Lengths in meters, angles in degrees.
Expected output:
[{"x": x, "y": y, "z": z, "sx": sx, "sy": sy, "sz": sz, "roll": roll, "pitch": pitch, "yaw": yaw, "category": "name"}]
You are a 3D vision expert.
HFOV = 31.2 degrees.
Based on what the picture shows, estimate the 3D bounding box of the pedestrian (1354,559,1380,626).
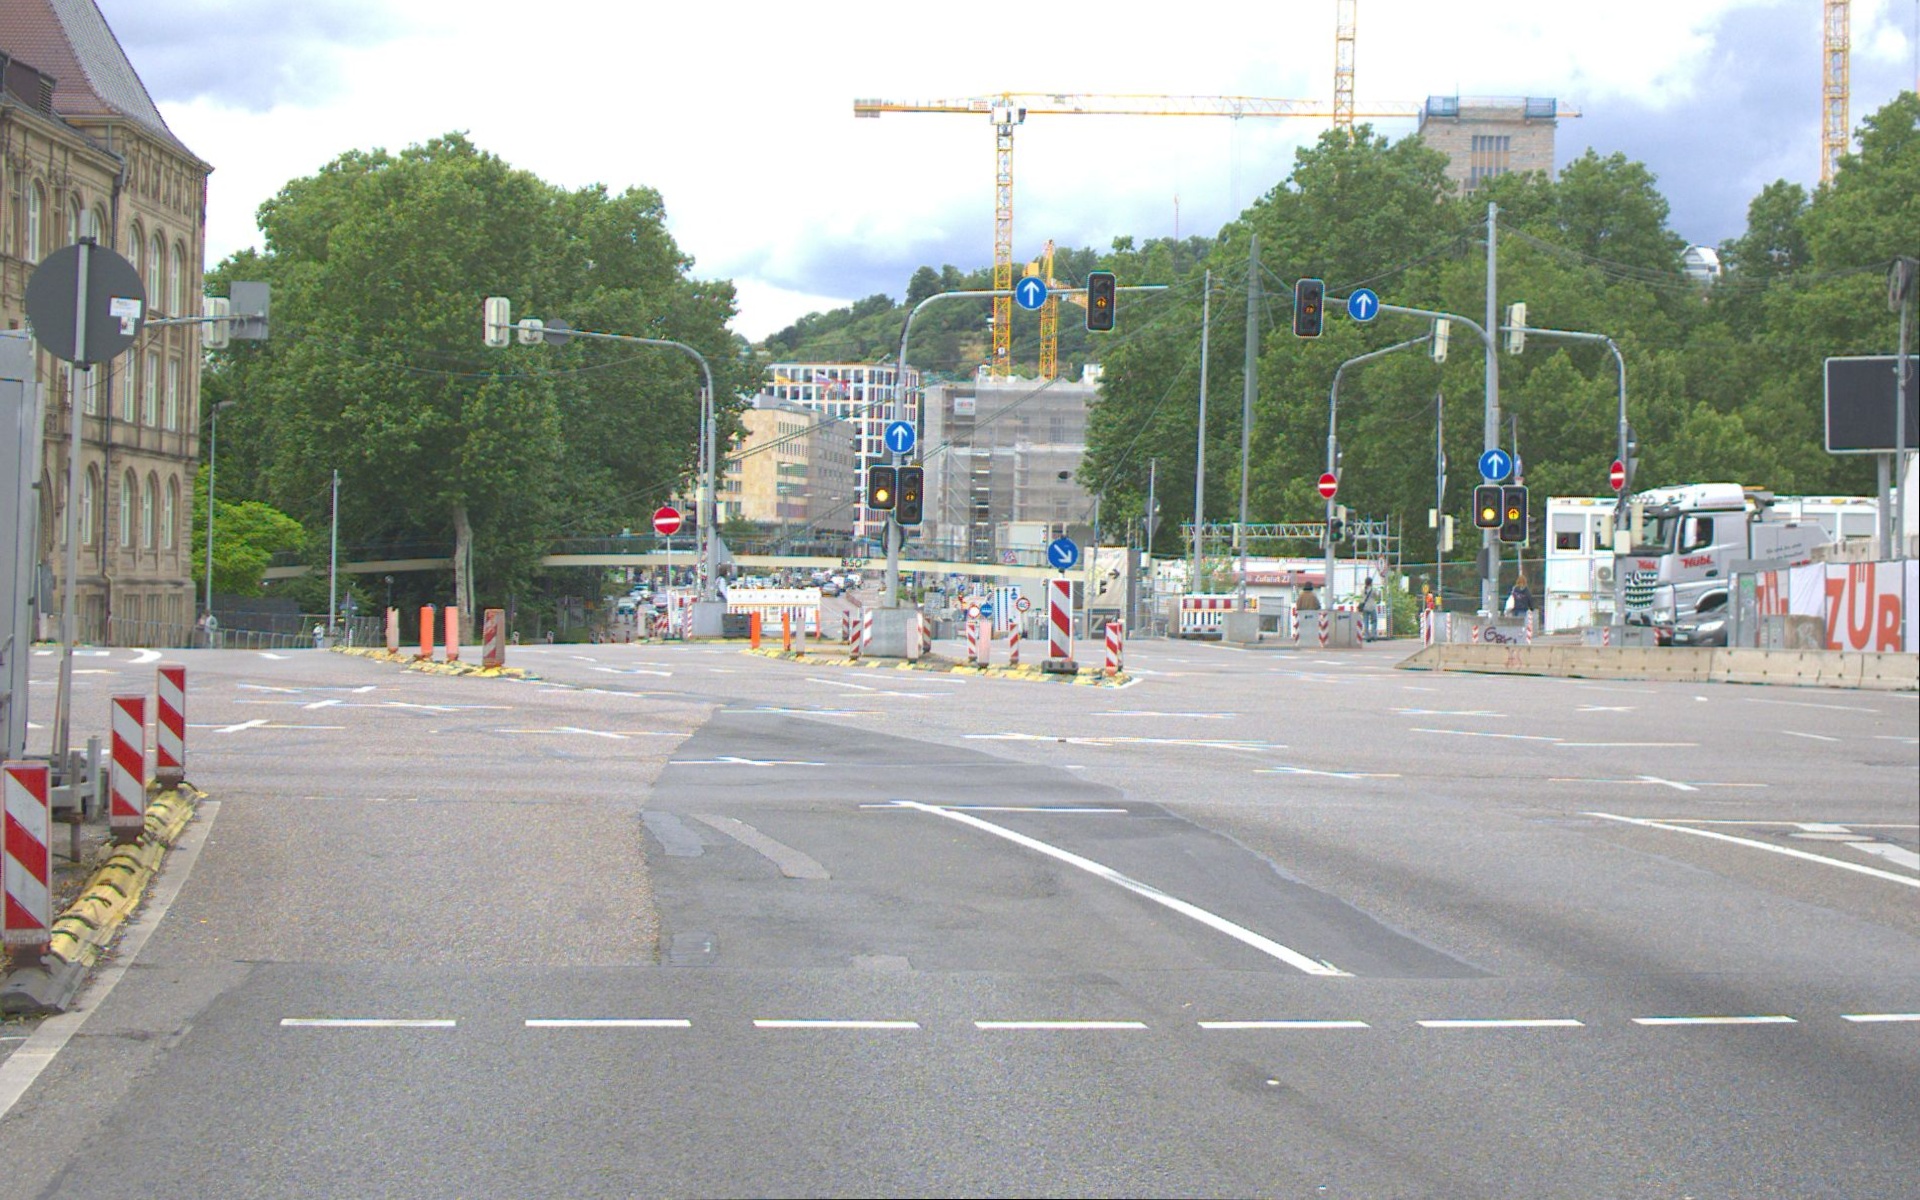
[{"x": 10.265, "y": -0.188, "z": 86.743, "sx": 0.566, "sy": 1.683, "sz": 0.472, "roll": 1, "pitch": 1, "yaw": -1, "category": "pedestrian"}]

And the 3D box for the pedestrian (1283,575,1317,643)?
[{"x": 8.531, "y": 0.222, "z": 86.240, "sx": 0.729, "sy": 1.683, "sz": 0.678, "roll": 1, "pitch": 1, "yaw": -1, "category": "pedestrian"}]

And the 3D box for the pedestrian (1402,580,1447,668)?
[{"x": 9.123, "y": 0.465, "z": 67.561, "sx": 0.729, "sy": 1.683, "sz": 0.678, "roll": 1, "pitch": 1, "yaw": -1, "category": "pedestrian"}]

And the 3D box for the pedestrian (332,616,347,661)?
[{"x": -27.927, "y": 1.732, "z": 154.728, "sx": 0.524, "sy": 2.007, "sz": 0.567, "roll": 1, "pitch": 1, "yaw": 0, "category": "pedestrian"}]

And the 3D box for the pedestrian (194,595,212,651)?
[{"x": -27.636, "y": 0.844, "z": 125.518, "sx": 0.524, "sy": 2.007, "sz": 0.567, "roll": 1, "pitch": 1, "yaw": 0, "category": "pedestrian"}]

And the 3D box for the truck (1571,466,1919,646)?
[{"x": 21.349, "y": -0.984, "z": 82.001, "sx": 13.022, "sy": 4.027, "sz": 3.952, "roll": 1, "pitch": 1, "yaw": -20, "category": "truck"}]

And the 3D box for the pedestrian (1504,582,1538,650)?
[{"x": 14.098, "y": 0.403, "z": 86.391, "sx": 0.622, "sy": 1.683, "sz": 0.710, "roll": 2, "pitch": 1, "yaw": 29, "category": "pedestrian"}]

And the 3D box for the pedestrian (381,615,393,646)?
[{"x": -29.923, "y": 1.606, "z": 179.552, "sx": 0.536, "sy": 1.587, "sz": 0.516, "roll": 1, "pitch": 1, "yaw": -4, "category": "pedestrian"}]
